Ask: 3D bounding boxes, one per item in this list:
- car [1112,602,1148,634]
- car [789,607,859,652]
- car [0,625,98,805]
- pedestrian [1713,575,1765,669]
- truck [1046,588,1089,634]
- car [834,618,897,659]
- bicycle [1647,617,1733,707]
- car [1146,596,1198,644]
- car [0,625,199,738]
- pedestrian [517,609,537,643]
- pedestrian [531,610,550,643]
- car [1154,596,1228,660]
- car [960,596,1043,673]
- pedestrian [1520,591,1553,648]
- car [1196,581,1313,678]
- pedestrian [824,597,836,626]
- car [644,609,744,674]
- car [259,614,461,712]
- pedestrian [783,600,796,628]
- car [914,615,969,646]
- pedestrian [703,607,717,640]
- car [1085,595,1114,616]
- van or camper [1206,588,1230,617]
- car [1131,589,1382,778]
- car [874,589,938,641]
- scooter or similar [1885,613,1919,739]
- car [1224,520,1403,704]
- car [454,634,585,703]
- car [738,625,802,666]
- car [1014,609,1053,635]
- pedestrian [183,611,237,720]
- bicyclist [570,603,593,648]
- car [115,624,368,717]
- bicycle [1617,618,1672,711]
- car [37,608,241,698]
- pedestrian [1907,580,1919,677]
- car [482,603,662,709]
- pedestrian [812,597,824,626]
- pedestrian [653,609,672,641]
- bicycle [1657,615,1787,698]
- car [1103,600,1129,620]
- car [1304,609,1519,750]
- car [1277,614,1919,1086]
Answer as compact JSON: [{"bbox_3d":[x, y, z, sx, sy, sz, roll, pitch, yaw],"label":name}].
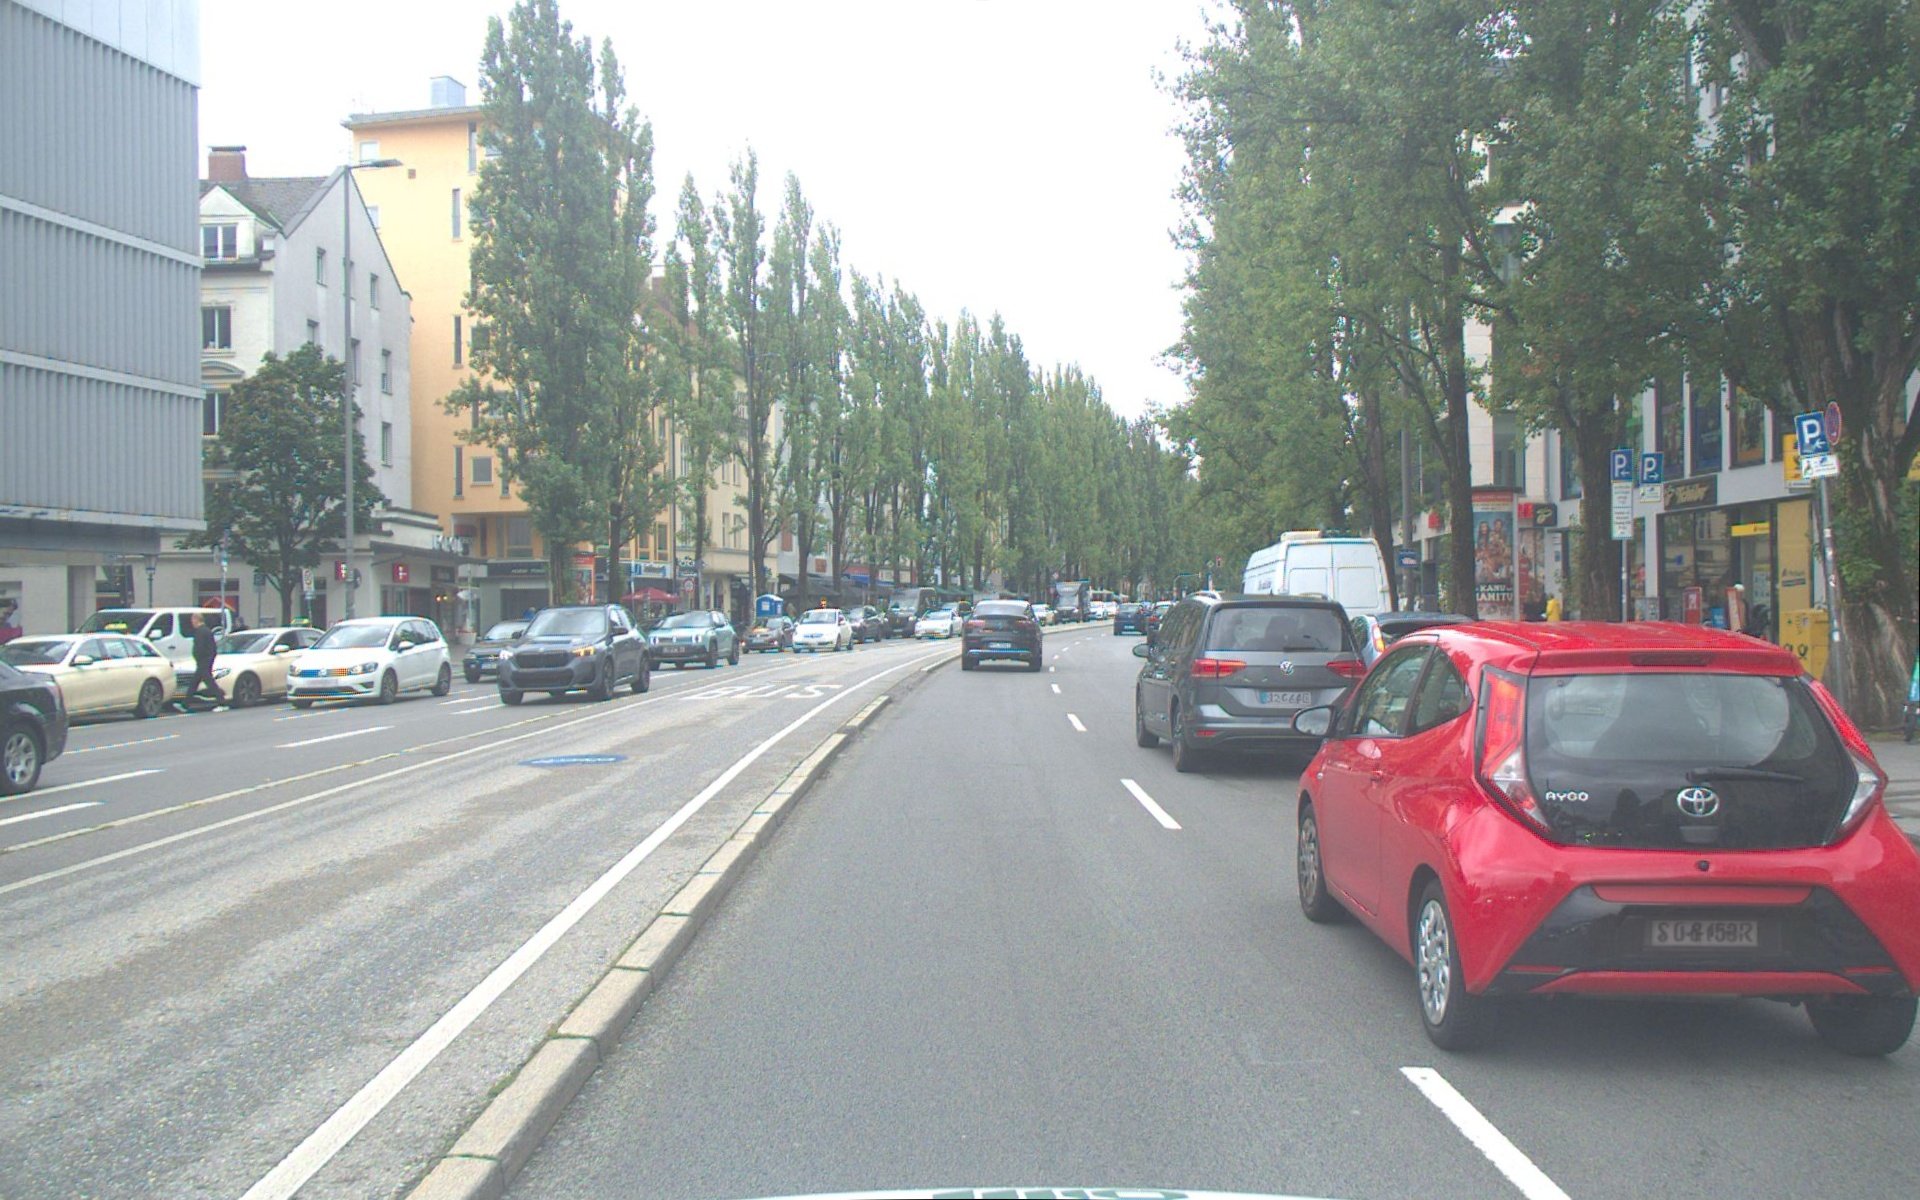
[{"bbox_3d":[8.844,0.944,85.836,1.722,1.648,3.749,0,-1,8],"label":"car"},{"bbox_3d":[-5.147,1.088,62.960,1.912,1.617,4.003,-1,0,6],"label":"car"},{"bbox_3d":[-9.155,1.018,13.259,1.797,1.513,4.736,-1,0,3],"label":"car"},{"bbox_3d":[14.695,0.414,31.200,0.707,1.755,0.737,-2,-1,37],"label":"pedestrian"},{"bbox_3d":[8.349,0.823,127.647,2.242,3.381,7.163,-2,0,12],"label":"truck"},{"bbox_3d":[-4.400,1.779,77.607,1.975,1.746,4.986,-1,0,8],"label":"car"},{"bbox_3d":[10.116,0.837,22.965,0.467,1.180,1.633,0,0,0],"label":"bicycle"},{"bbox_3d":[8.023,0.751,62.388,1.884,1.730,4.653,0,-1,8],"label":"car"},{"bbox_3d":[-14.731,1.261,26.735,1.935,1.579,5.090,-1,0,8],"label":"car"},{"bbox_3d":[-18.945,1.149,72.365,0.619,1.460,0.778,-1,0,-1],"label":"pedestrian"},{"bbox_3d":[-18.338,1.154,72.341,0.619,1.460,0.778,-1,0,-1],"label":"pedestrian"},{"bbox_3d":[6.383,0.753,46.108,1.691,1.716,4.410,0,0,3],"label":"car"},{"bbox_3d":[1.038,0.782,39.469,1.841,1.670,4.584,-1,0,3],"label":"car"},{"bbox_3d":[16.557,0.549,47.483,0.555,1.603,0.672,-1,-1,-23],"label":"pedestrian"},{"bbox_3d":[6.010,0.576,34.225,1.888,1.836,4.782,0,0,4],"label":"car"},{"bbox_3d":[-8.774,0.785,111.508,0.624,1.894,0.648,-1,0,12],"label":"pedestrian"},{"bbox_3d":[-7.104,1.076,44.463,1.779,1.572,4.001,-3,0,3],"label":"car"},{"bbox_3d":[-11.056,1.106,30.804,1.952,1.628,4.291,-1,0,3],"label":"car"},{"bbox_3d":[-10.689,0.893,103.562,0.624,1.729,0.648,-1,0,12],"label":"pedestrian"},{"bbox_3d":[-0.895,1.510,83.605,1.761,1.419,4.694,-2,0,12],"label":"car"},{"bbox_3d":[-13.589,1.284,89.881,0.527,1.777,0.756,0,0,12],"label":"pedestrian"},{"bbox_3d":[11.864,0.439,140.684,1.820,1.741,4.540,-2,0,12],"label":"car"},{"bbox_3d":[24.115,0.266,154.509,1.991,2.519,4.003,-1,-2,12],"label":"van or camper"},{"bbox_3d":[2.798,0.737,16.503,1.725,1.642,4.183,0,0,-1],"label":"car"},{"bbox_3d":[-2.904,0.785,89.915,2.123,2.651,6.069,-1,0,11],"label":"car"},{"bbox_3d":[10.083,0.741,16.703,1.442,1.228,0.398,-2,0,-19],"label":"scooter or similar"},{"bbox_3d":[5.833,0.220,27.976,1.952,2.790,5.555,0,-1,1],"label":"car"},{"bbox_3d":[-10.640,1.621,40.301,1.693,1.433,4.689,-1,0,3],"label":"car"},{"bbox_3d":[-7.483,1.786,65.525,1.746,1.491,4.002,-2,0,5],"label":"car"},{"bbox_3d":[5.042,1.484,113.002,1.951,1.616,5.200,-3,0,10],"label":"car"},{"bbox_3d":[-13.453,1.159,29.652,0.778,1.900,0.837,-1,0,-31],"label":"pedestrian"},{"bbox_3d":[-13.808,0.915,60.393,0.491,1.620,0.835,-1,0,12],"label":"bicyclist"},{"bbox_3d":[-13.805,1.307,32.160,1.817,1.495,4.986,-3,-1,13],"label":"car"},{"bbox_3d":[9.279,0.848,22.451,0.467,1.180,1.826,-1,0,16],"label":"bicycle"},{"bbox_3d":[-20.239,1.251,41.075,1.951,2.049,5.116,-1,0,8],"label":"car"},{"bbox_3d":[16.329,0.467,27.506,0.677,1.613,0.773,-1,0,-1],"label":"pedestrian"},{"bbox_3d":[-6.738,0.919,29.252,1.952,1.649,4.414,-2,0,2],"label":"car"},{"bbox_3d":[-9.580,0.780,111.516,0.624,1.894,0.648,-1,0,12],"label":"pedestrian"},{"bbox_3d":[-15.161,1.271,84.302,0.620,1.589,0.816,-1,0,14],"label":"pedestrian"},{"bbox_3d":[11.063,0.814,24.048,1.593,1.180,0.705,0,0,13],"label":"bicycle"},{"bbox_3d":[14.261,0.906,150.792,1.898,1.671,4.467,-2,0,11],"label":"car"},{"bbox_3d":[5.343,0.879,20.070,1.689,1.479,4.149,1,0,4],"label":"car"},{"bbox_3d":[2.477,0.812,7.011,1.631,1.471,3.596,0,-1,1],"label":"car"}]
